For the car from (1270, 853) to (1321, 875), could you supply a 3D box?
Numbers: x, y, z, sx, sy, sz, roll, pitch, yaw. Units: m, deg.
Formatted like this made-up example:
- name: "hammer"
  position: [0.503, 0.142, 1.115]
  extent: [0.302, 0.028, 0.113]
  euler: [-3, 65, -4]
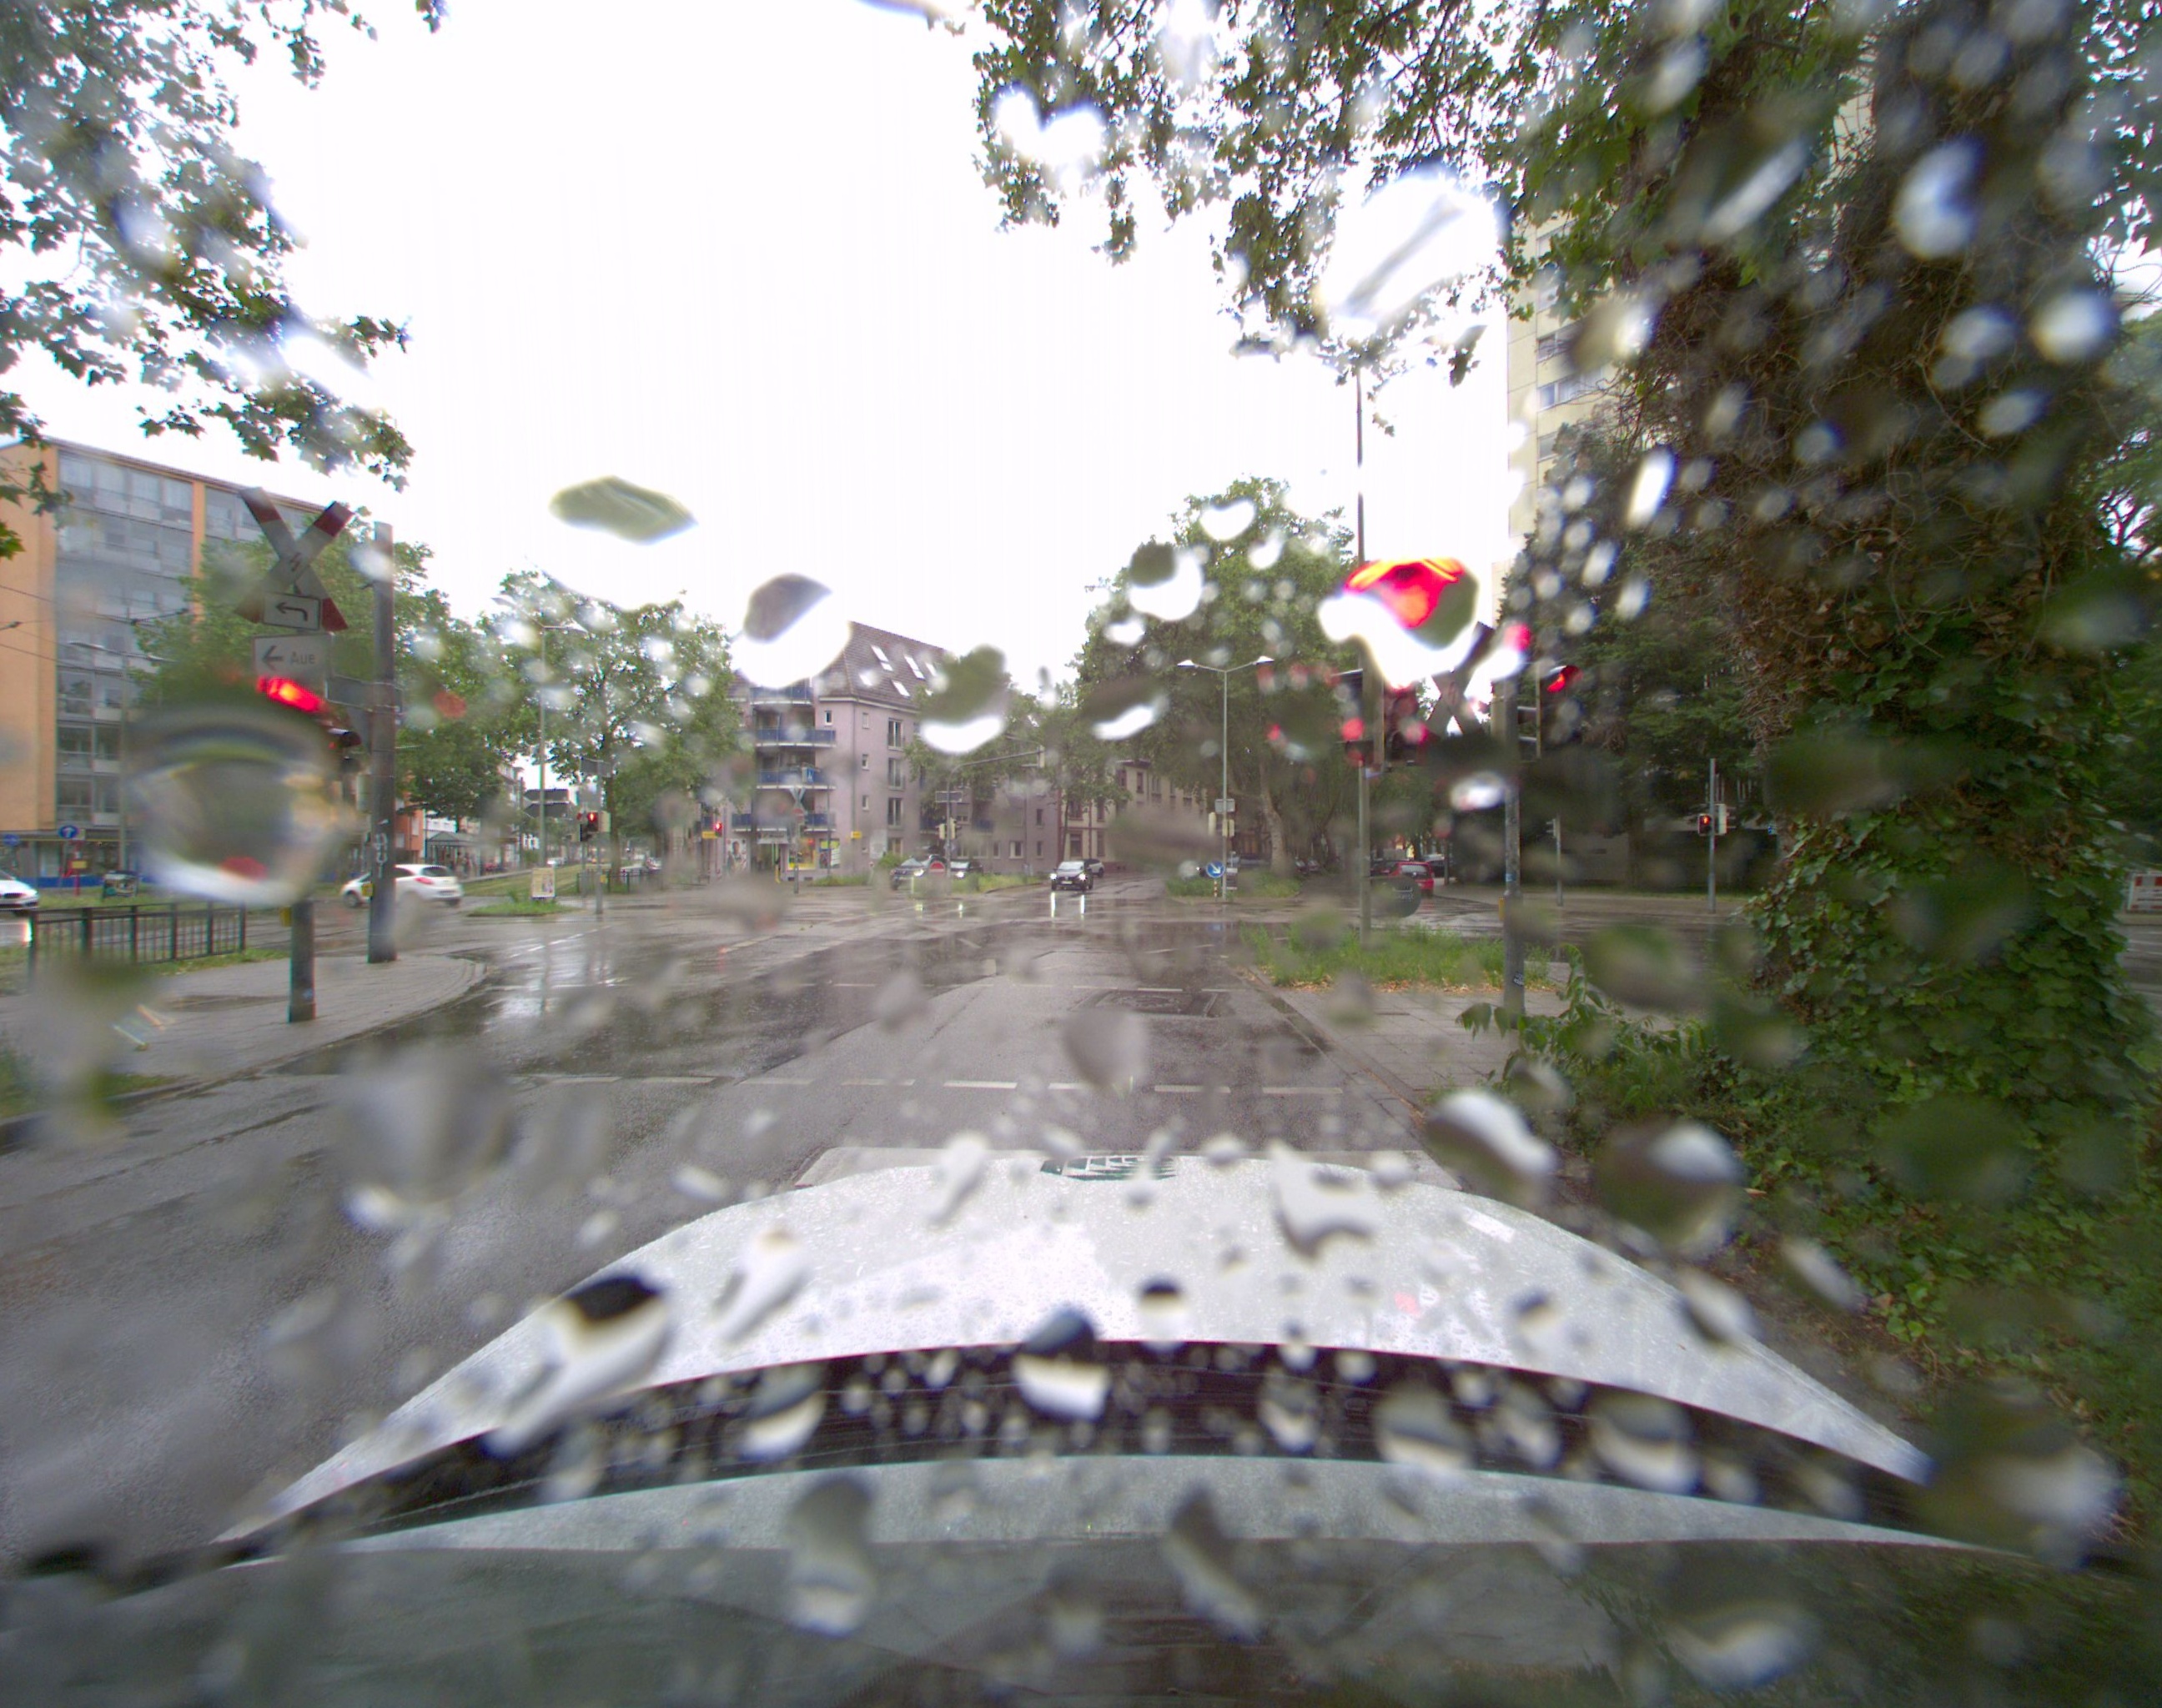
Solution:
- name: "car"
  position: [17.182, 0.799, 65.305]
  extent: [3.571, 1.618, 1.692]
  euler: [-2, 0, 30]

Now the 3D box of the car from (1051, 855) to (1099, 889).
- name: "car"
  position: [-0.260, 0.885, 40.639]
  extent: [1.591, 1.552, 3.572]
  euler: [-2, 0, 13]

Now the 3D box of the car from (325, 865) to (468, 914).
- name: "car"
  position: [-23.509, 1.201, 28.037]
  extent: [3.621, 1.486, 1.728]
  euler: [-2, 0, 7]

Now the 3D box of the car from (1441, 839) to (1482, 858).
- name: "car"
  position: [42.550, -0.600, 91.104]
  extent: [3.953, 2.013, 1.716]
  euler: [-2, 0, 21]

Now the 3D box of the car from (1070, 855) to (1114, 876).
- name: "car"
  position: [0.941, 0.915, 66.370]
  extent: [1.661, 1.552, 4.225]
  euler: [-2, 0, 30]

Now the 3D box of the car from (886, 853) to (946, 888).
- name: "car"
  position: [-7.865, 0.753, 39.115]
  extent: [1.715, 1.552, 3.567]
  euler: [-2, 0, 8]

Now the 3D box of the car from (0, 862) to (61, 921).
- name: "car"
  position: [-32.159, 1.120, 23.427]
  extent: [3.978, 1.651, 1.980]
  euler: [-2, 0, 13]

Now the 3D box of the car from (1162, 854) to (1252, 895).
- name: "car"
  position: [5.125, 0.818, 32.998]
  extent: [3.457, 1.523, 1.524]
  euler: [-2, 0, 10]

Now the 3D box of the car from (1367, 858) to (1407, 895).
- name: "car"
  position: [17.794, 1.277, 47.523]
  extent: [1.977, 2.013, 4.019]
  euler: [-2, 0, 18]

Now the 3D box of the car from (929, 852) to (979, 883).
- name: "car"
  position: [-6.992, 0.719, 45.207]
  extent: [1.715, 1.552, 3.567]
  euler: [-2, 0, 8]

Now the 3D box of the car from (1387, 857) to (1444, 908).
- name: "car"
  position: [14.785, 1.214, 36.219]
  extent: [1.977, 2.013, 4.019]
  euler: [-2, 0, 18]

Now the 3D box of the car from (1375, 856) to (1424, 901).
- name: "car"
  position: [15.816, 1.176, 40.592]
  extent: [1.977, 2.013, 4.019]
  euler: [-2, 0, 18]
